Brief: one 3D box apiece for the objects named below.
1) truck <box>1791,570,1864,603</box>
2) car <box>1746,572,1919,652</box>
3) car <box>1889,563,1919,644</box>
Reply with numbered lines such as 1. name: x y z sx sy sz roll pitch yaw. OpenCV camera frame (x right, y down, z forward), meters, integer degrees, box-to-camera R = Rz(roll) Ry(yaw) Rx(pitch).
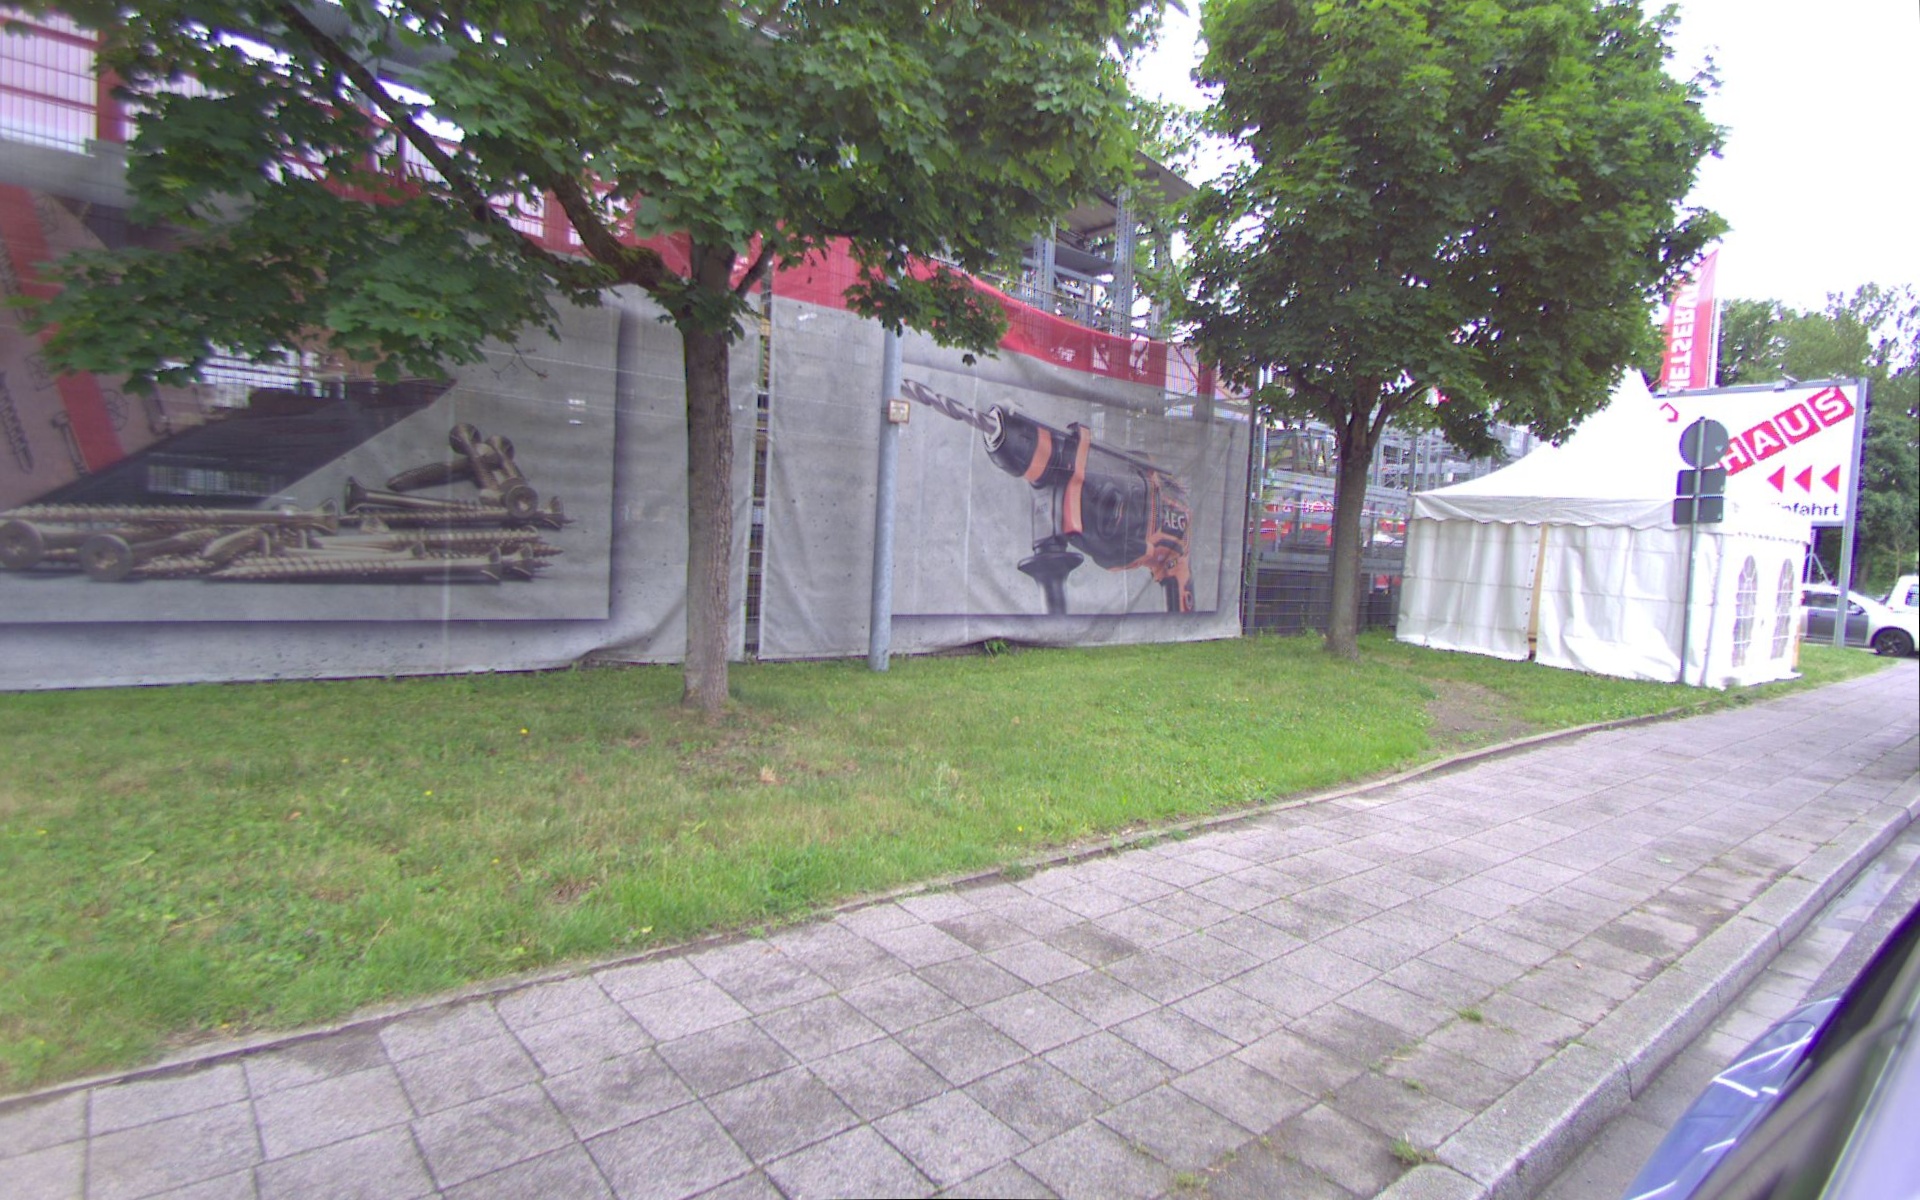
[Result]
1. truck: 69.773 -1.110 81.450 3.924 2.425 2.001 3 3 0
2. car: 20.278 0.247 22.803 1.743 1.603 3.690 0 3 -36
3. car: 24.124 0.297 22.815 1.769 1.828 4.382 0 7 -41
